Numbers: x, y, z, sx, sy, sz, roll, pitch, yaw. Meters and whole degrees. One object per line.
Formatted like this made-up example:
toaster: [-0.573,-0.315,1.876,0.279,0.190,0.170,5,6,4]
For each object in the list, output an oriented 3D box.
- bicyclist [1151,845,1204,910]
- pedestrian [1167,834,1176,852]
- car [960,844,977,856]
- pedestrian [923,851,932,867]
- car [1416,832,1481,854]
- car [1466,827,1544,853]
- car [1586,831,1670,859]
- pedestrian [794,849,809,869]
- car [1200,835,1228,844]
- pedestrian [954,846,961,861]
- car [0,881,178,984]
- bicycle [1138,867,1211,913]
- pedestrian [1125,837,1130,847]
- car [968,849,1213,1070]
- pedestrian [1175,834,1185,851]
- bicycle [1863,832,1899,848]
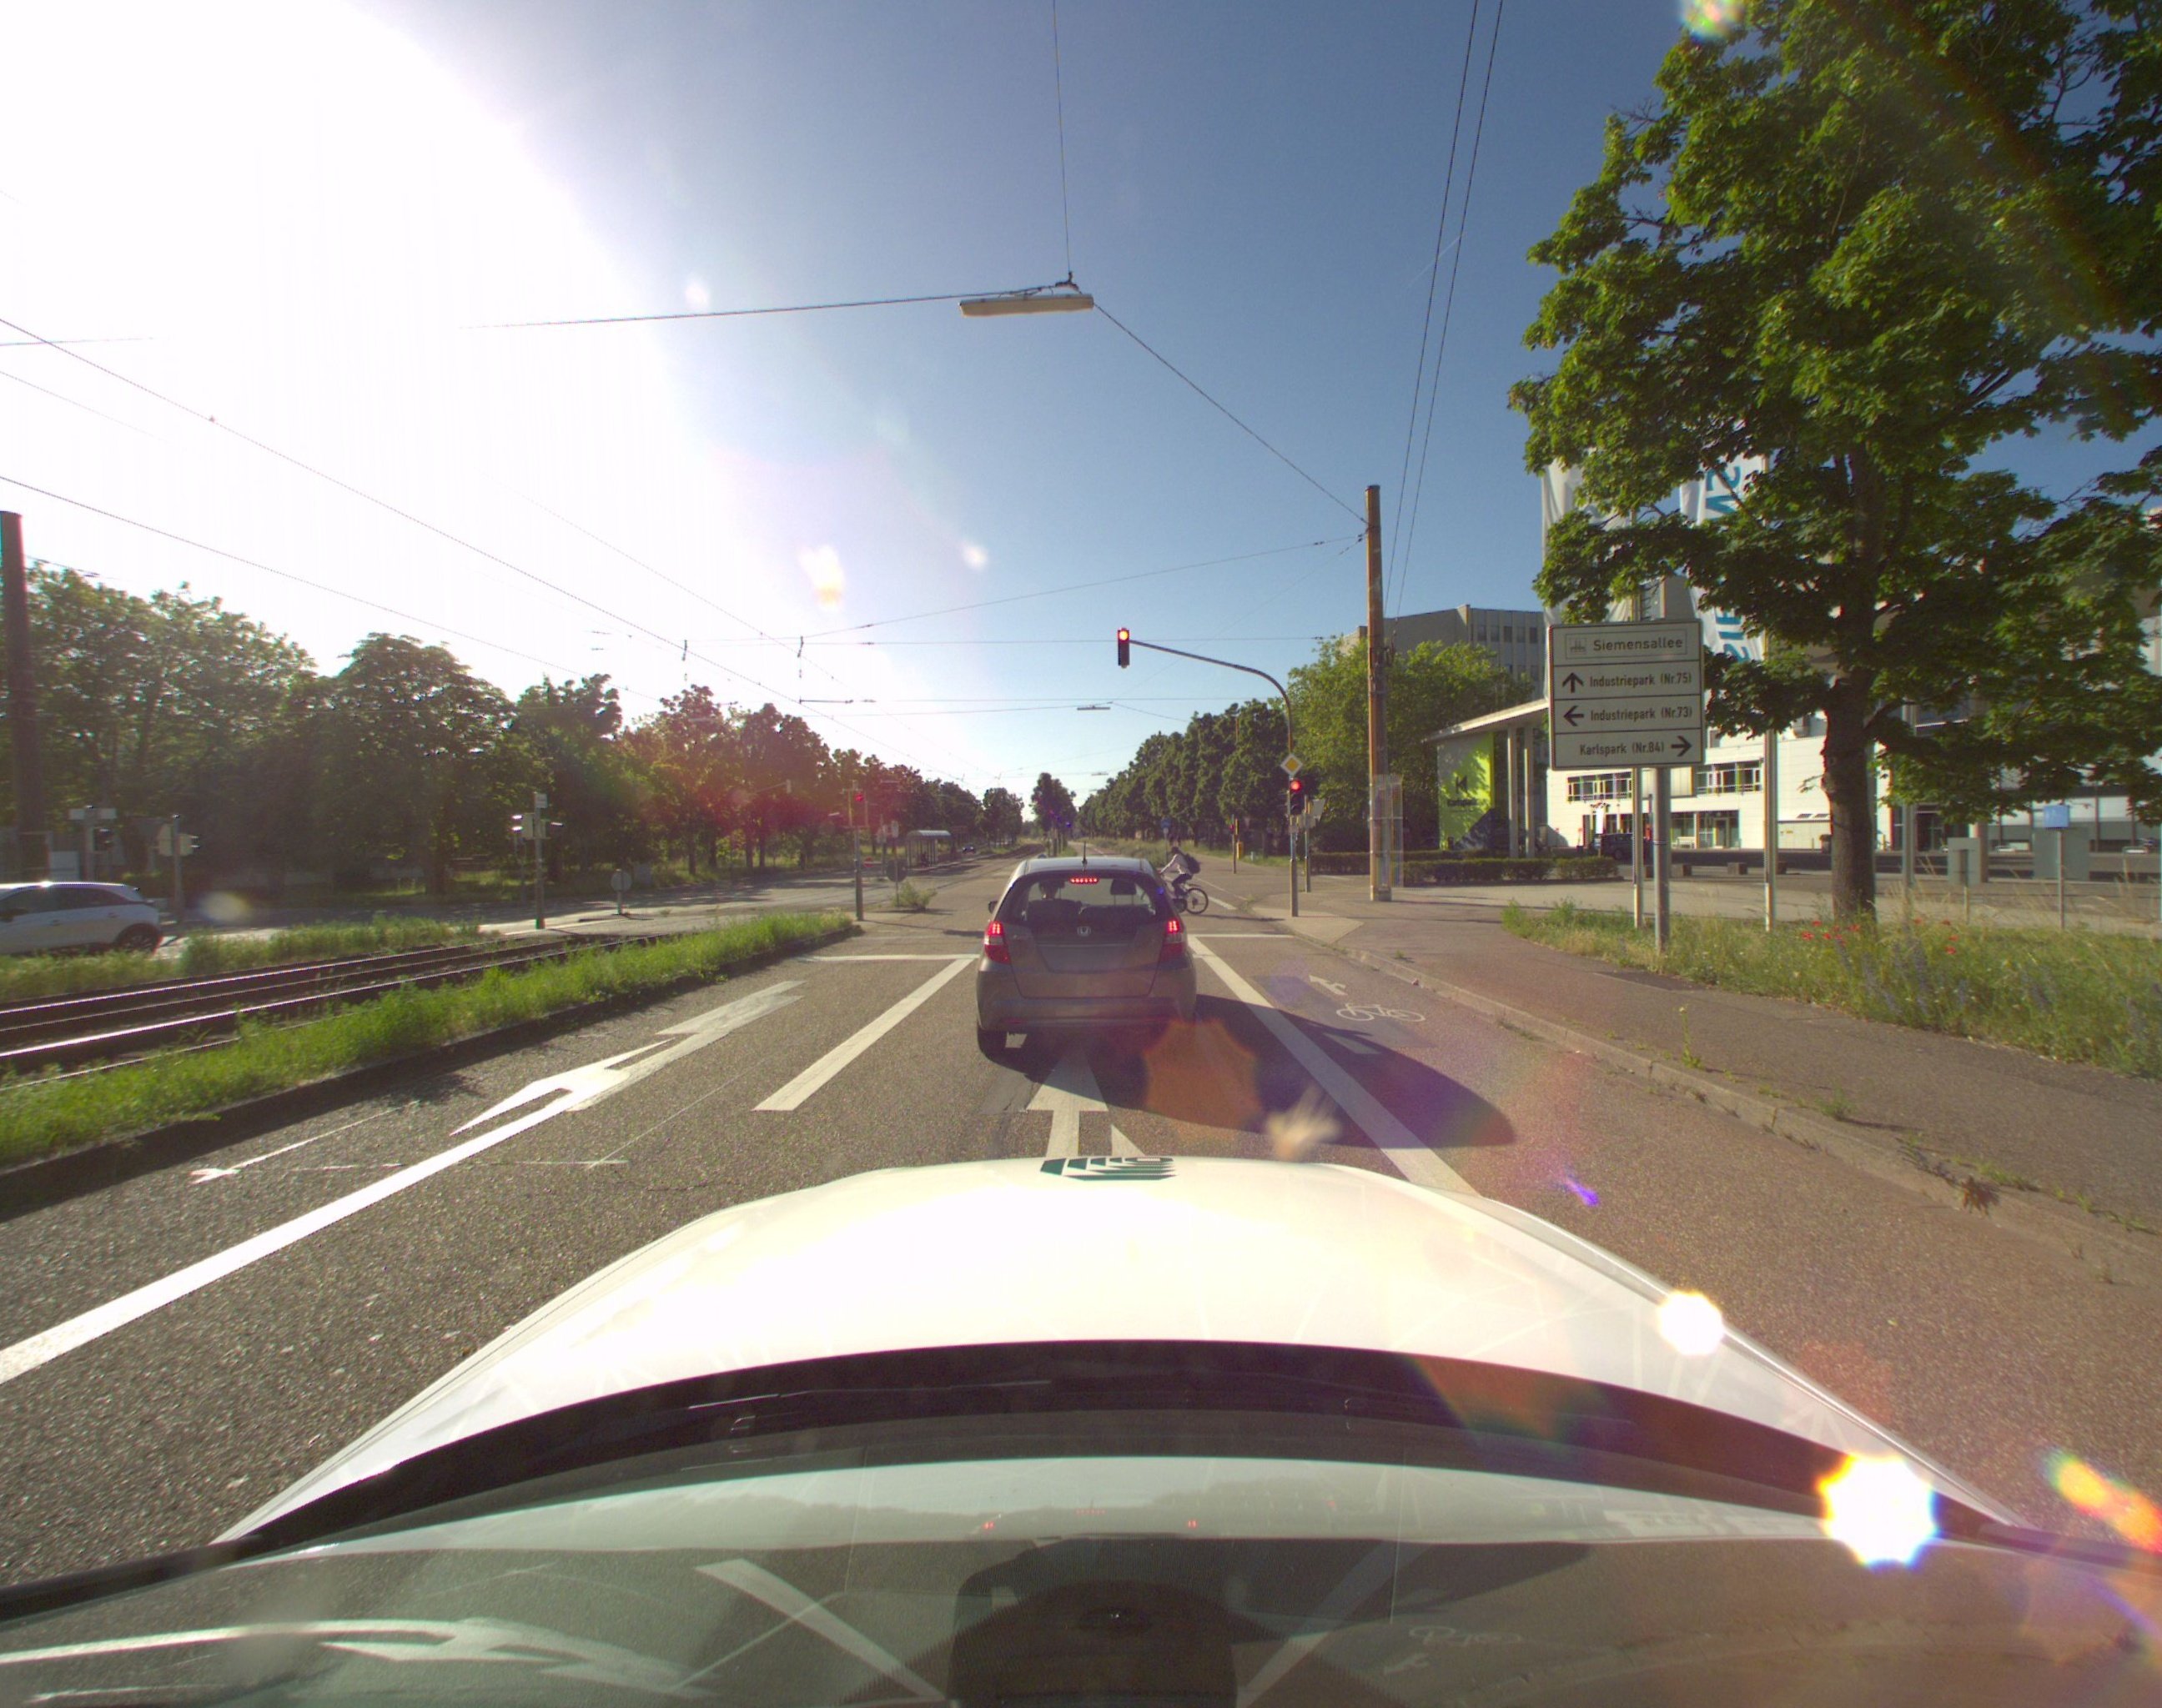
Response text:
bicyclist: [2.429,0.576,20.569,1.228,1.593,0.805,-1,0,0]
pedestrian: [10.005,-1.237,90.079,0.880,1.884,0.875,-2,1,-2]
car: [-18.274,-0.669,132.313,2.087,1.810,4.792,-4,1,0]
pedestrian: [-12.441,0.380,66.010,0.562,1.257,0.581,-4,0,1]
car: [30.048,-0.927,66.664,4.448,1.686,1.892,-2,1,-4]
car: [31.110,-1.052,59.772,4.888,1.757,2.082,-2,1,-14]
car: [33.323,-0.571,49.642,3.984,1.578,1.949,-1,0,-8]
pedestrian: [-24.217,0.440,70.530,0.751,1.734,0.943,-1,1,30]
car: [23.526,-2.557,144.260,4.623,1.555,1.997,-2,1,-5]
pedestrian: [-12.263,-0.047,80.579,0.542,1.447,0.559,-2,0,1]
car: [-18.355,1.324,13.697,1.852,1.558,4.150,-1,0,-4]
bicycle: [2.340,0.891,20.584,1.769,1.102,0.699,-1,0,0]
pedestrian: [7.880,-1.994,138.764,0.723,1.691,0.820,-1,-2,-1]
car: [0.121,0.744,7.556,1.694,1.524,3.711,-1,0,2]
pedestrian: [10.942,-1.244,90.074,0.880,1.884,0.875,-2,1,-2]
bicycle: [52.273,-0.904,53.243,0.565,1.004,1.614,-2,1,-13]
